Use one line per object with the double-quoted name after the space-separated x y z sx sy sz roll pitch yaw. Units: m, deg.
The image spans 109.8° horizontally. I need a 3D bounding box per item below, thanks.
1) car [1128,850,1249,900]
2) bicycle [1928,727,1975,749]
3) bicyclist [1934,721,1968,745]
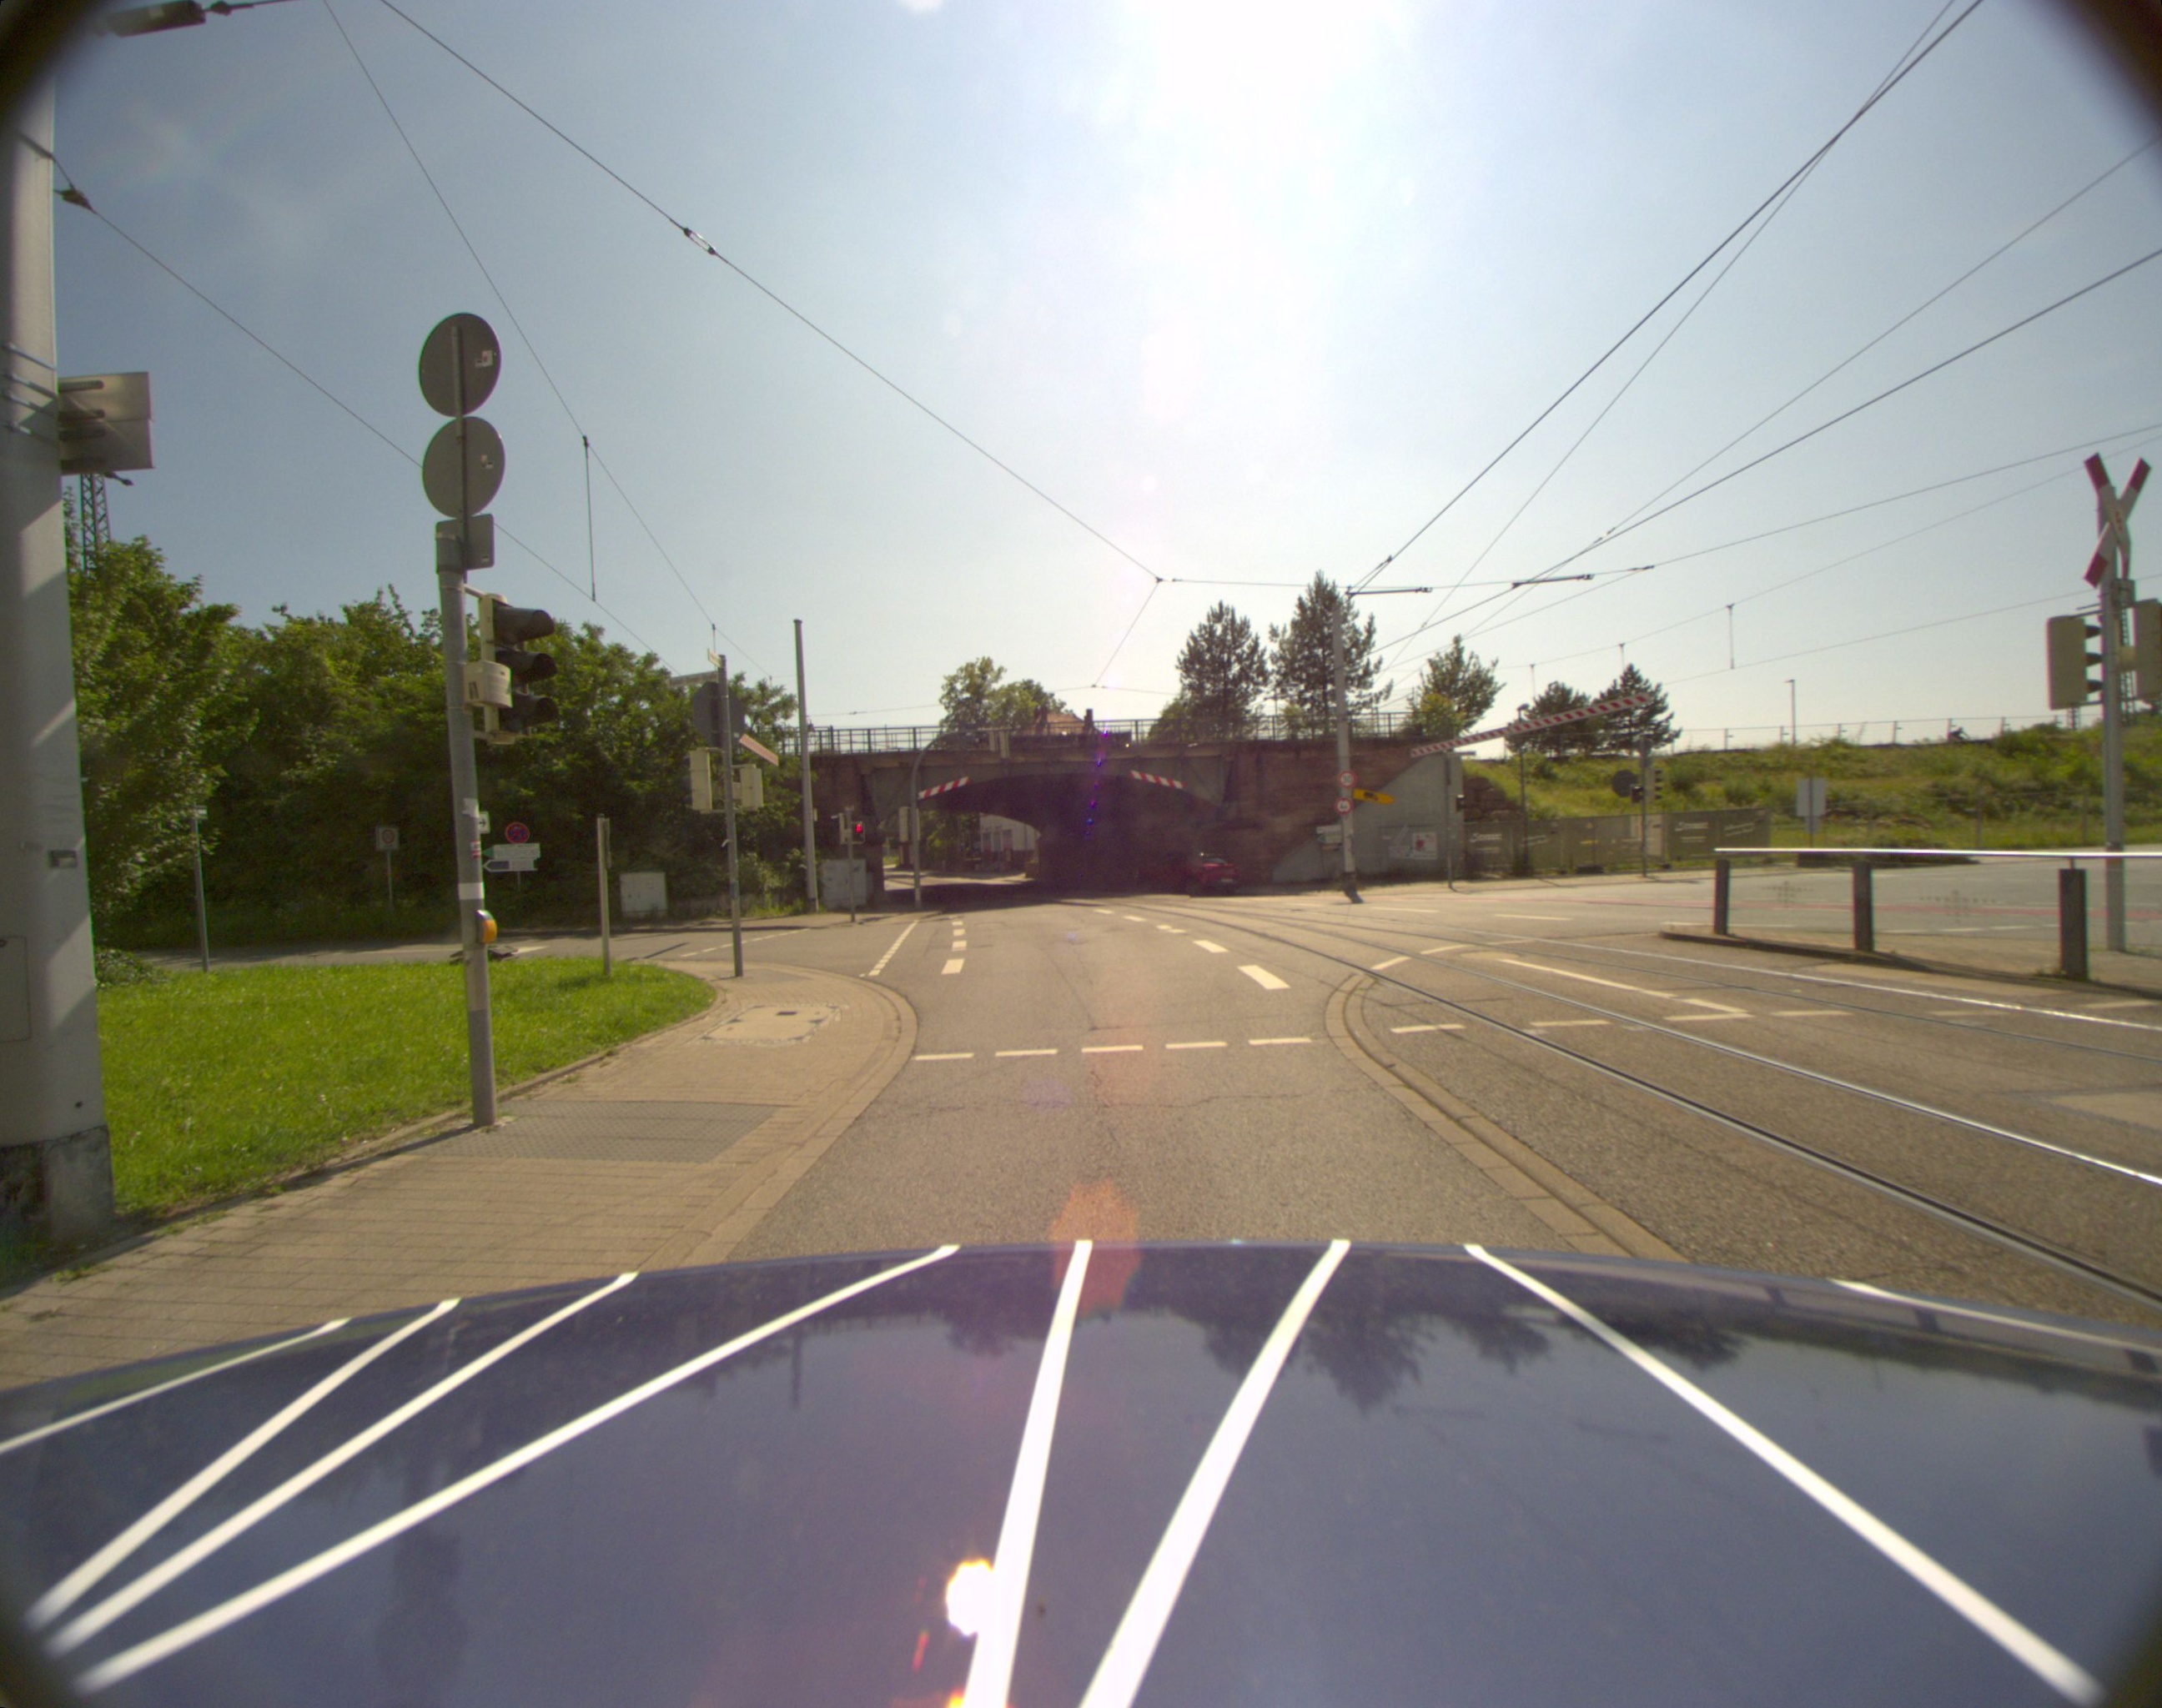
3.840 0.778 27.786 1.825 1.594 4.297 -4 0 -36 "car"
57.958 -7.719 50.574 2.174 1.206 0.937 -4 -1 -7 "bicycle"
57.931 -8.083 50.601 1.062 1.380 0.953 -4 -1 -7 "bicyclist"
